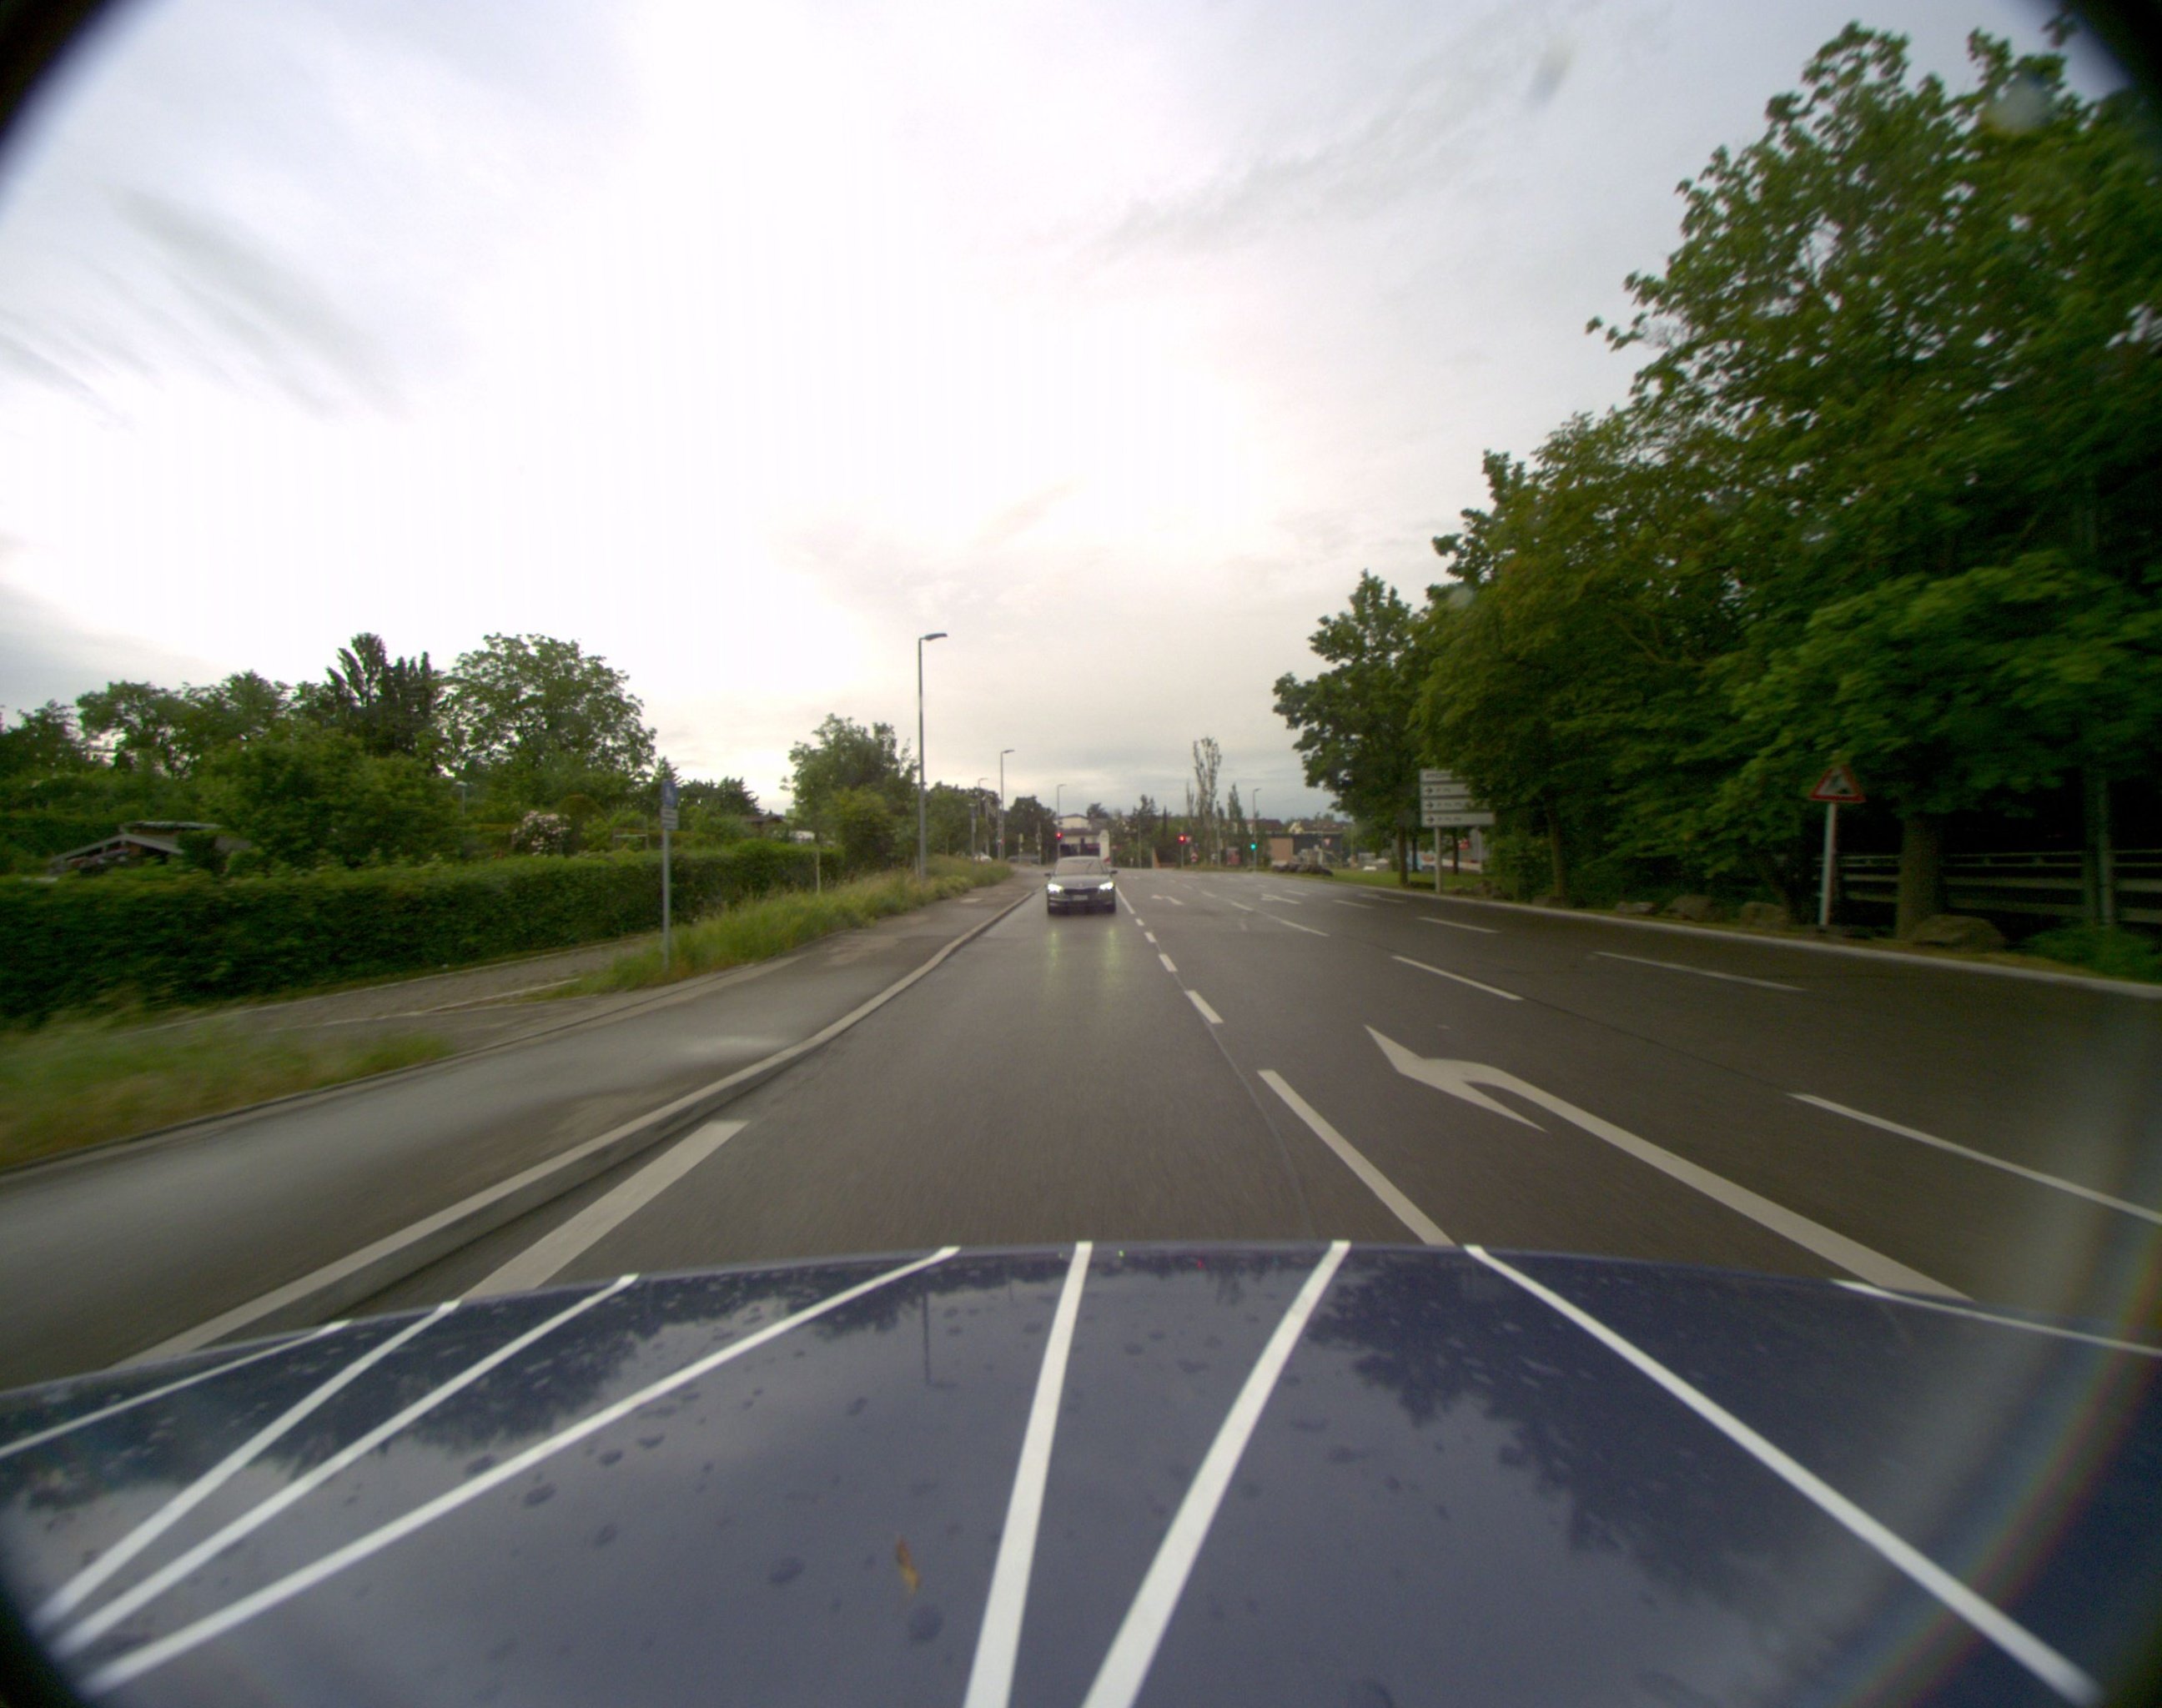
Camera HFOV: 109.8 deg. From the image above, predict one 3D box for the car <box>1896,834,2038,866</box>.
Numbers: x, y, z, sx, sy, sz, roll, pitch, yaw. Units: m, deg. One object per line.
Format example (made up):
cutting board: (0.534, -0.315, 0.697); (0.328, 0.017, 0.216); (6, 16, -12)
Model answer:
car: (42.957, -0.198, 36.975); (3.990, 1.510, 2.003); (0, 1, 23)

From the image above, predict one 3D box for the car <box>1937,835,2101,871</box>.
car: (40.563, -0.064, 32.991); (3.990, 1.510, 2.003); (0, 1, 23)

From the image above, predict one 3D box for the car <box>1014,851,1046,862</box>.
car: (-6.910, 0.312, 102.686); (4.036, 1.396, 1.842); (0, -1, 8)

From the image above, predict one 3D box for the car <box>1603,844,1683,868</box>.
car: (36.899, 0.106, 50.018); (3.989, 1.510, 2.004); (0, 1, 29)

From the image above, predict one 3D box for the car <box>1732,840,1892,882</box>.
car: (27.802, 0.218, 29.092); (3.989, 1.510, 2.004); (0, 1, 28)

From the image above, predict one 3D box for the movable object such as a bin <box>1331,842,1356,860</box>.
movable object such as a bin: (38.607, -0.406, 111.811); (2.996, 2.611, 1.929); (2, 0, 1)

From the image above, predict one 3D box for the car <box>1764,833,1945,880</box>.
car: (26.652, 0.056, 26.404); (3.989, 1.510, 2.004); (0, 1, 29)

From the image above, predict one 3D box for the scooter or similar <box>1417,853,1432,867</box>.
scooter or similar: (32.616, 0.594, 72.125); (1.226, 1.251, 0.517); (2, 0, -5)

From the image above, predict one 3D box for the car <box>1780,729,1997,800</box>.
car: (23.958, -2.596, 22.794); (3.990, 1.510, 2.004); (-4, -1, 29)

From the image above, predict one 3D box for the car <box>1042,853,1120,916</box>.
car: (0.032, 0.750, 20.784); (1.839, 1.448, 4.202); (-3, 0, 1)

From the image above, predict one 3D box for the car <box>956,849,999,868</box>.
car: (-10.353, 0.446, 75.983); (4.050, 1.596, 1.826); (3, 5, 35)
